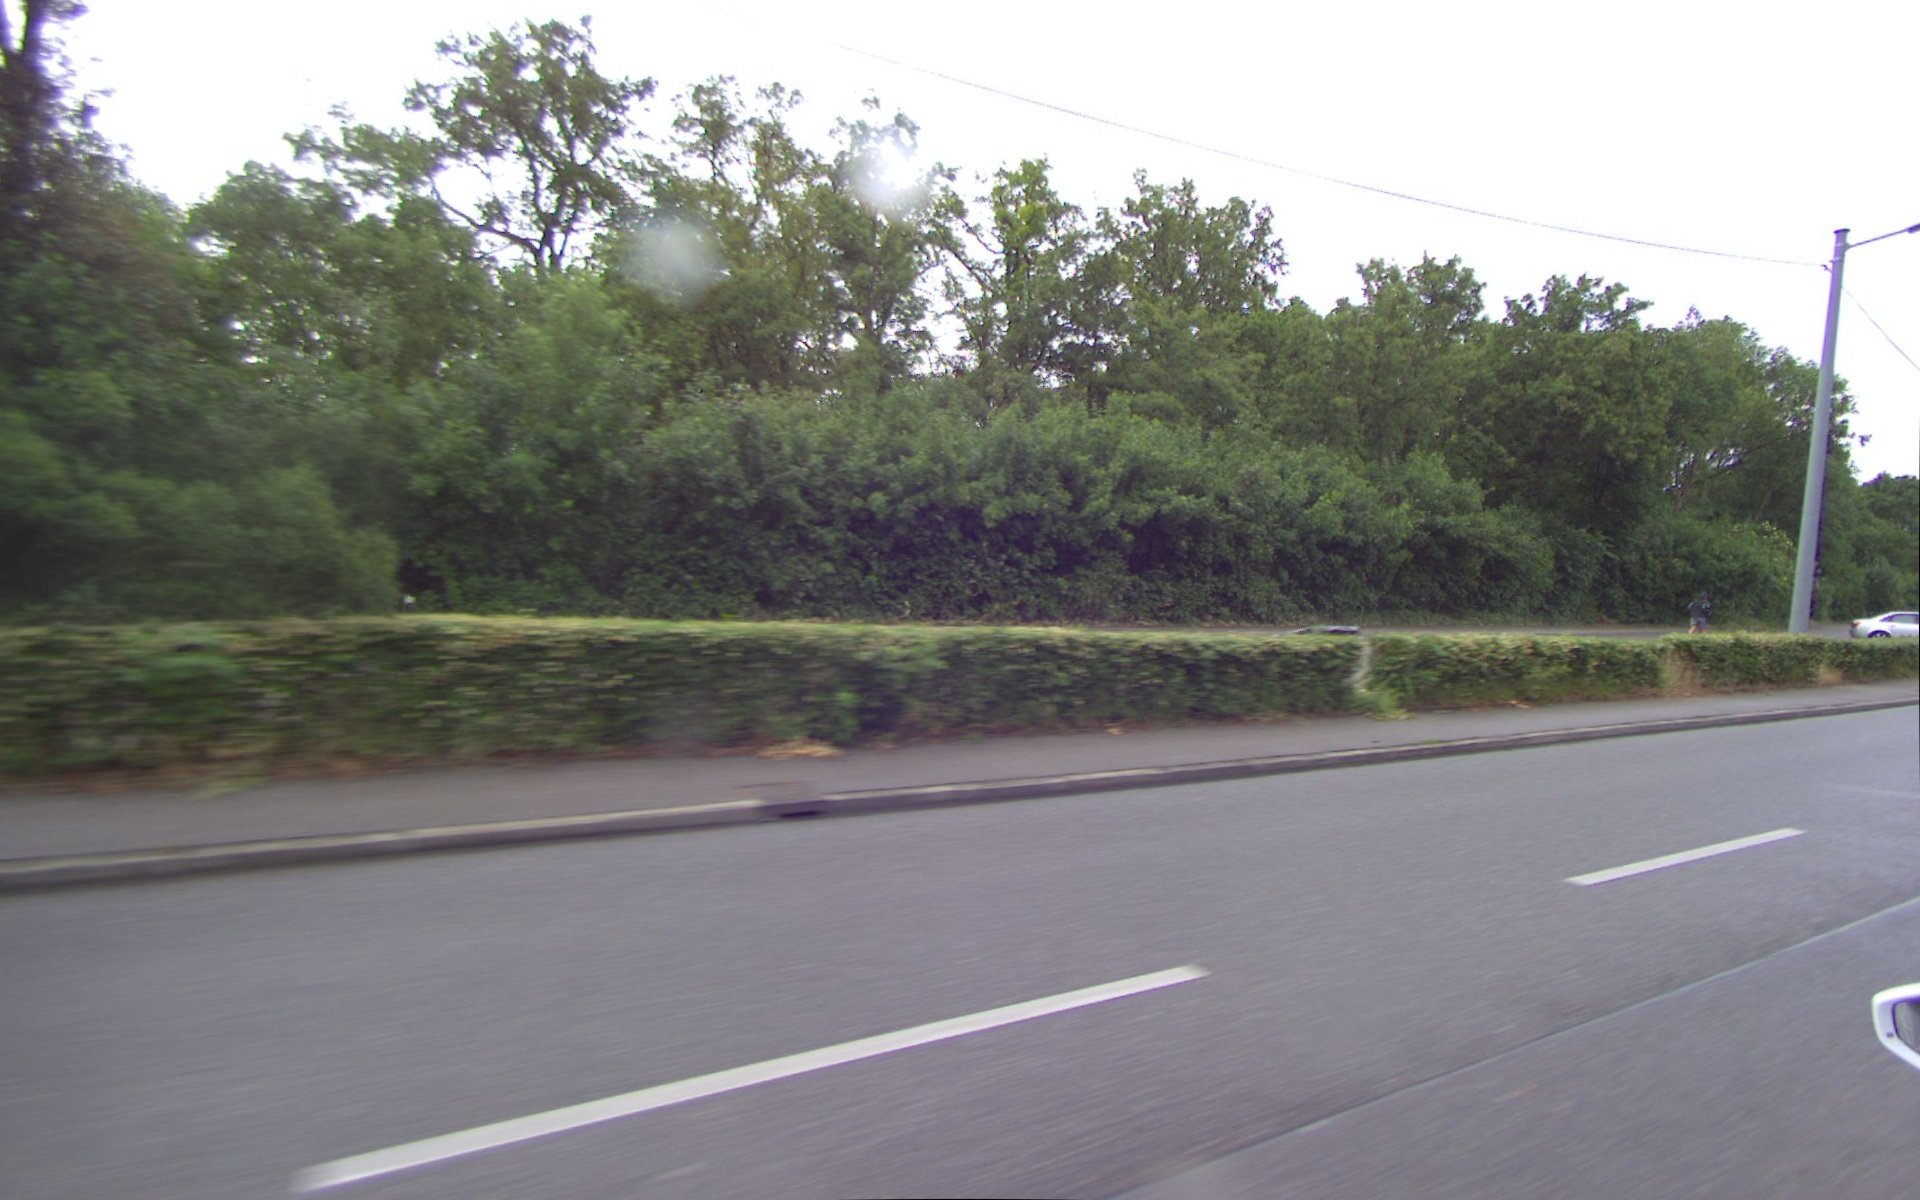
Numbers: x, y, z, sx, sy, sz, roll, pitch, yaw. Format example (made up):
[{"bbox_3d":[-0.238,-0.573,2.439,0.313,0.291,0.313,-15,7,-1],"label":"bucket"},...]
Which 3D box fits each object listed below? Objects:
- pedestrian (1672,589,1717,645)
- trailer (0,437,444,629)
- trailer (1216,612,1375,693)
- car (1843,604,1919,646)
[{"bbox_3d":[24.668,0.574,33.734,1.123,1.822,0.812,1,2,-33],"label":"pedestrian"},{"bbox_3d":[-13.643,-1.032,17.682,7.890,2.912,2.462,2,1,-33],"label":"trailer"},{"bbox_3d":[4.975,0.742,14.977,1.321,1.048,1.789,1,1,-35],"label":"trailer"},{"bbox_3d":[37.993,1.048,39.619,1.986,1.526,4.530,1,2,-43],"label":"car"}]
